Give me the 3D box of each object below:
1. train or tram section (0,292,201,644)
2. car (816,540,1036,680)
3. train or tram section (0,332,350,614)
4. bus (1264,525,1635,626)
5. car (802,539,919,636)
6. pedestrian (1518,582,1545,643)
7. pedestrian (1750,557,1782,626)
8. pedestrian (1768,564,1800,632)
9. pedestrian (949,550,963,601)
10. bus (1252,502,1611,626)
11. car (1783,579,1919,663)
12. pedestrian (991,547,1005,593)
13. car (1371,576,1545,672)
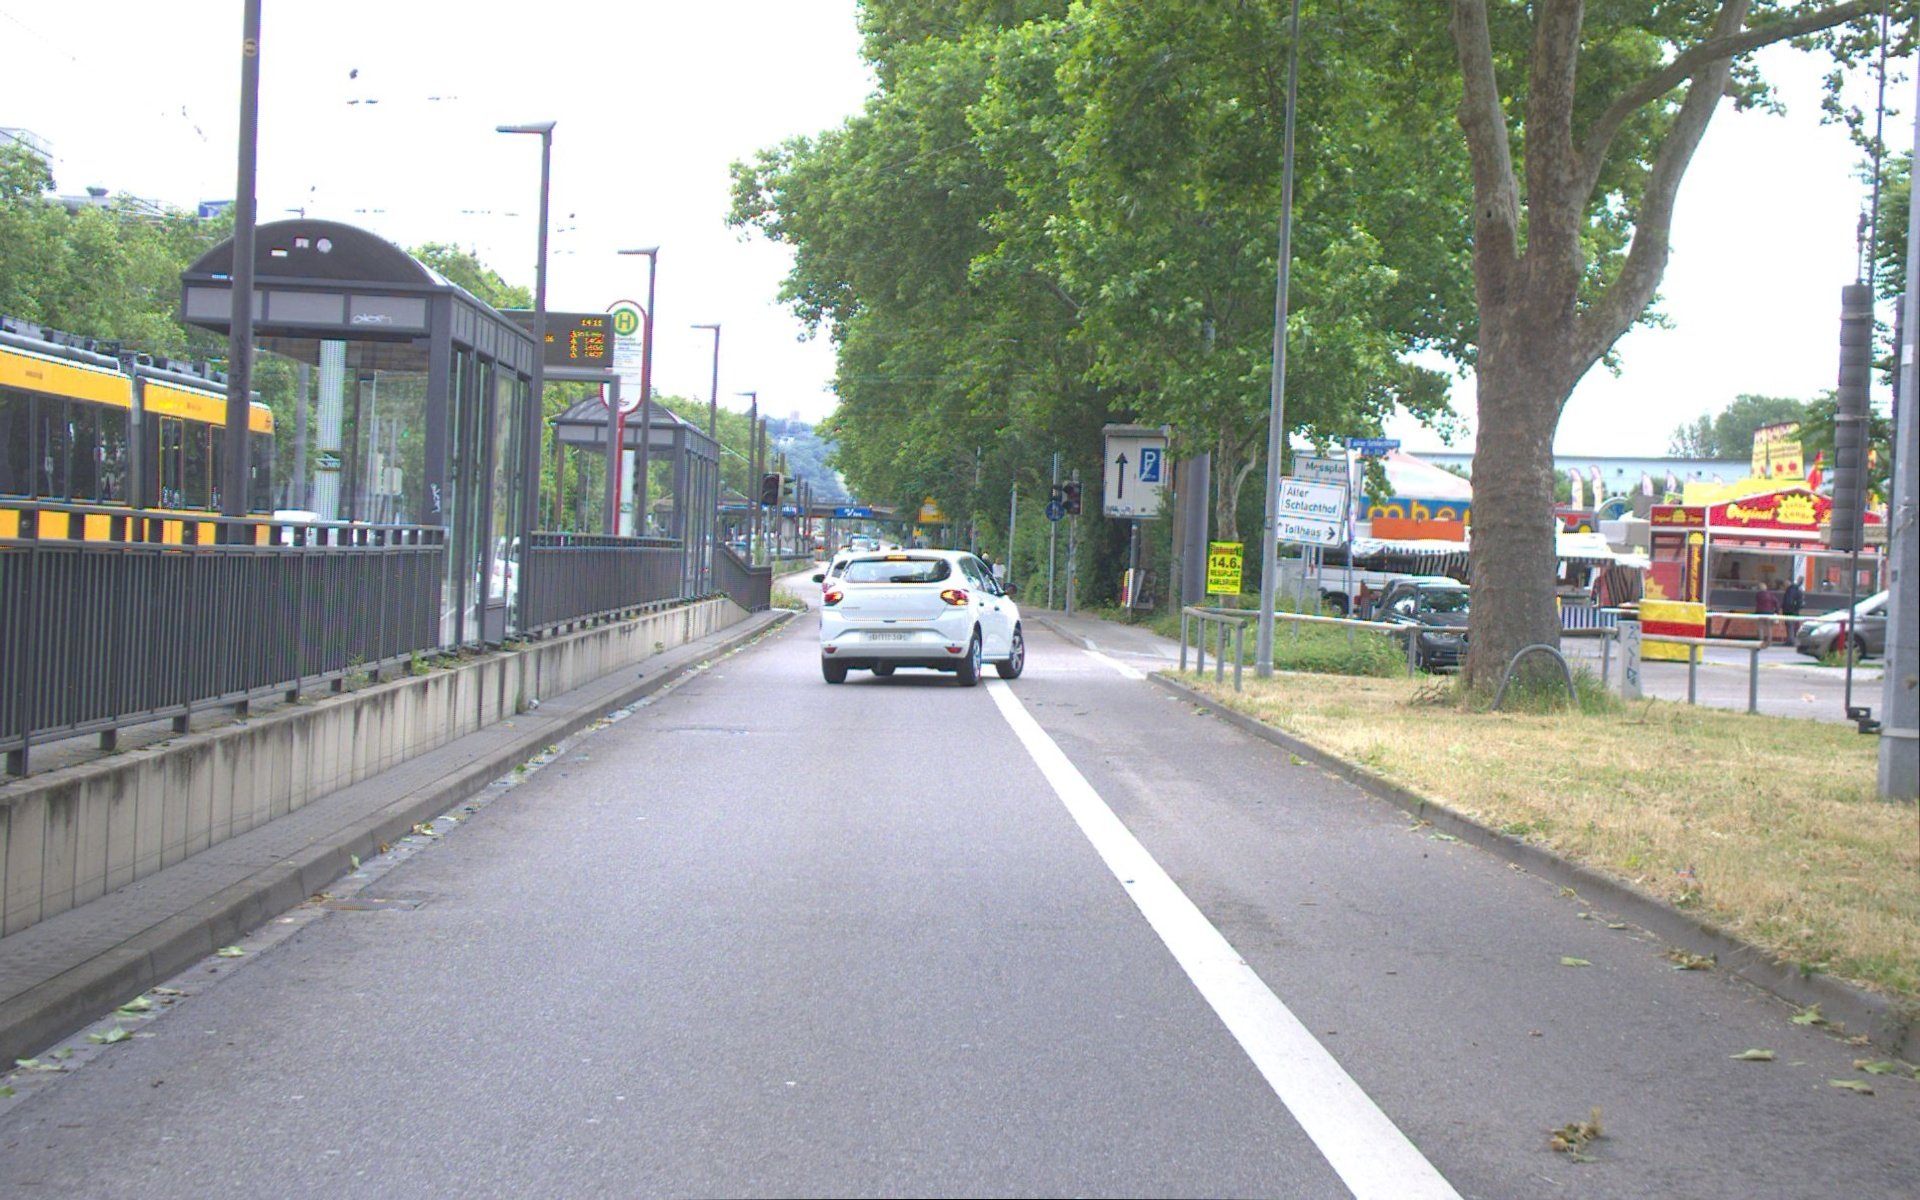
[{"bbox_3d":[-13.065,-1.646,44.827,3.180,4.164,14.735,2,0,-1],"label":"train or tram section"},{"bbox_3d":[-0.331,0.105,39.612,1.886,1.448,3.999,2,0,8],"label":"car"},{"bbox_3d":[-13.404,-1.989,59.574,3.180,4.164,14.735,2,0,-1],"label":"train or tram section"},{"bbox_3d":[12.714,-0.643,89.578,9.276,2.220,2.000,2,0,-3],"label":"bus"},{"bbox_3d":[-1.667,-0.238,59.013,1.841,1.546,4.000,2,1,0],"label":"car"},{"bbox_3d":[13.868,0.303,83.405,0.492,1.458,0.524,2,0,-4],"label":"pedestrian"},{"bbox_3d":[20.021,-0.209,85.430,0.522,1.681,0.494,2,0,-17],"label":"pedestrian"},{"bbox_3d":[20.579,-0.045,85.891,0.522,1.681,0.494,2,0,-17],"label":"pedestrian"},{"bbox_3d":[-0.153,-0.971,137.019,0.396,2.007,0.402,2,0,14],"label":"pedestrian"},{"bbox_3d":[12.687,-0.962,92.795,9.276,2.949,2.000,2,0,-3],"label":"bus"},{"bbox_3d":[19.020,0.454,68.669,4.573,1.570,2.000,2,0,-2],"label":"car"},{"bbox_3d":[1.309,-1.032,119.160,0.396,1.580,0.538,2,0,4],"label":"pedestrian"},{"bbox_3d":[8.101,0.363,56.275,1.862,1.425,4.001,2,0,-5],"label":"car"}]
